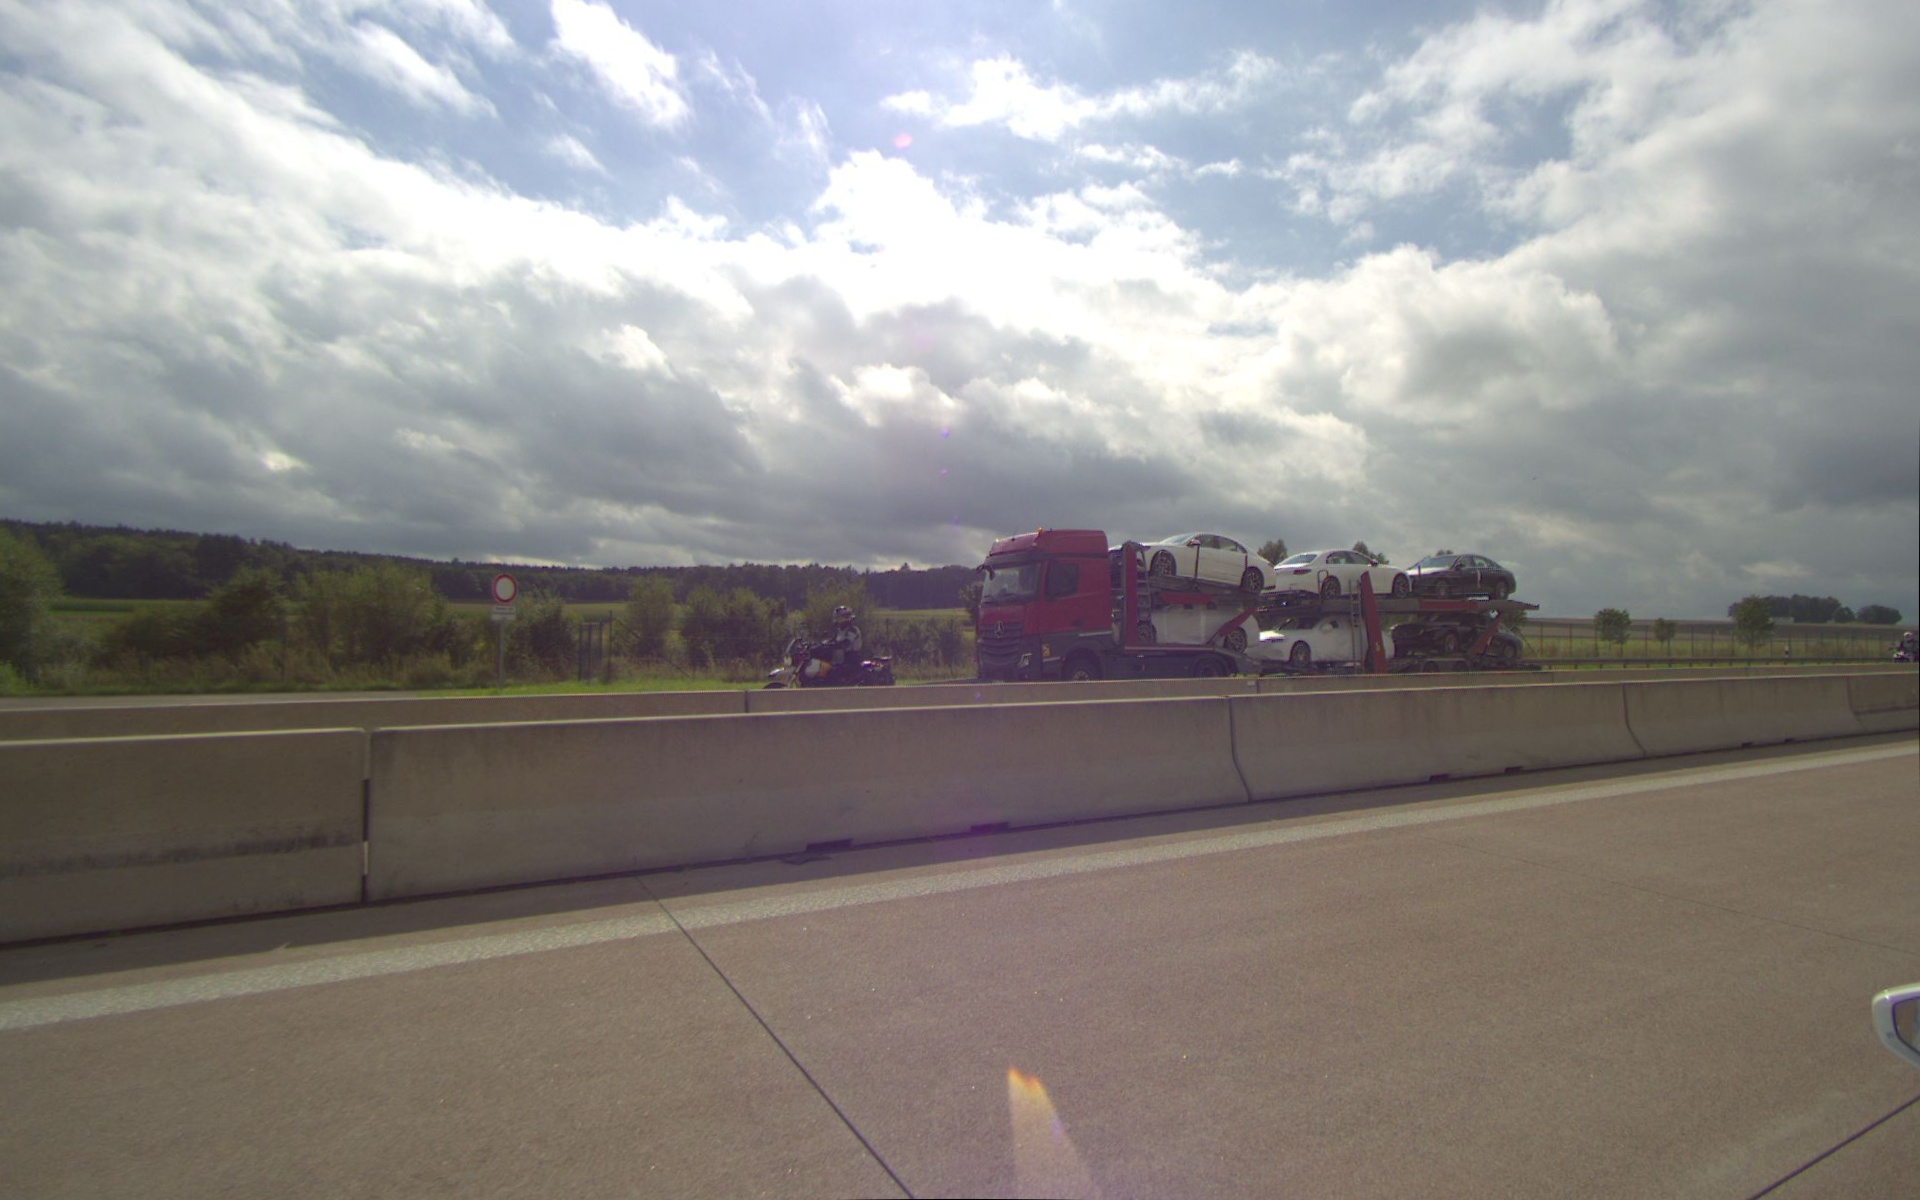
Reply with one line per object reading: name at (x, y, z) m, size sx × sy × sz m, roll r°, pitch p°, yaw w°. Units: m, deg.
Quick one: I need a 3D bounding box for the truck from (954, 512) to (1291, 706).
truck at (3.981, 0.249, 24.139) m, size 7.636 × 4.031 × 3.180 m, roll 1°, pitch 0°, yaw -29°

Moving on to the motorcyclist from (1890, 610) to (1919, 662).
motorcyclist at (35.595, 1.345, 37.559) m, size 0.734 × 1.886 × 1.005 m, roll 1°, pitch 0°, yaw -28°

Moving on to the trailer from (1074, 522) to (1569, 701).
trailer at (10.694, 0.417, 27.960) m, size 16.128 × 4.031 × 3.180 m, roll 1°, pitch 0°, yaw -29°

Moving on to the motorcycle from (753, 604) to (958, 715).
motorcycle at (-1.638, 0.887, 15.730) m, size 2.807 × 1.563 × 1.547 m, roll 1°, pitch 0°, yaw -29°

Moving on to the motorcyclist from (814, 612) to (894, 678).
motorcyclist at (-1.669, 0.685, 15.696) m, size 0.829 × 0.961 × 1.180 m, roll 1°, pitch 0°, yaw -29°

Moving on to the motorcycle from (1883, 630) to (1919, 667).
motorcycle at (35.625, 1.813, 37.591) m, size 2.314 × 1.321 × 0.922 m, roll 1°, pitch 0°, yaw -30°
